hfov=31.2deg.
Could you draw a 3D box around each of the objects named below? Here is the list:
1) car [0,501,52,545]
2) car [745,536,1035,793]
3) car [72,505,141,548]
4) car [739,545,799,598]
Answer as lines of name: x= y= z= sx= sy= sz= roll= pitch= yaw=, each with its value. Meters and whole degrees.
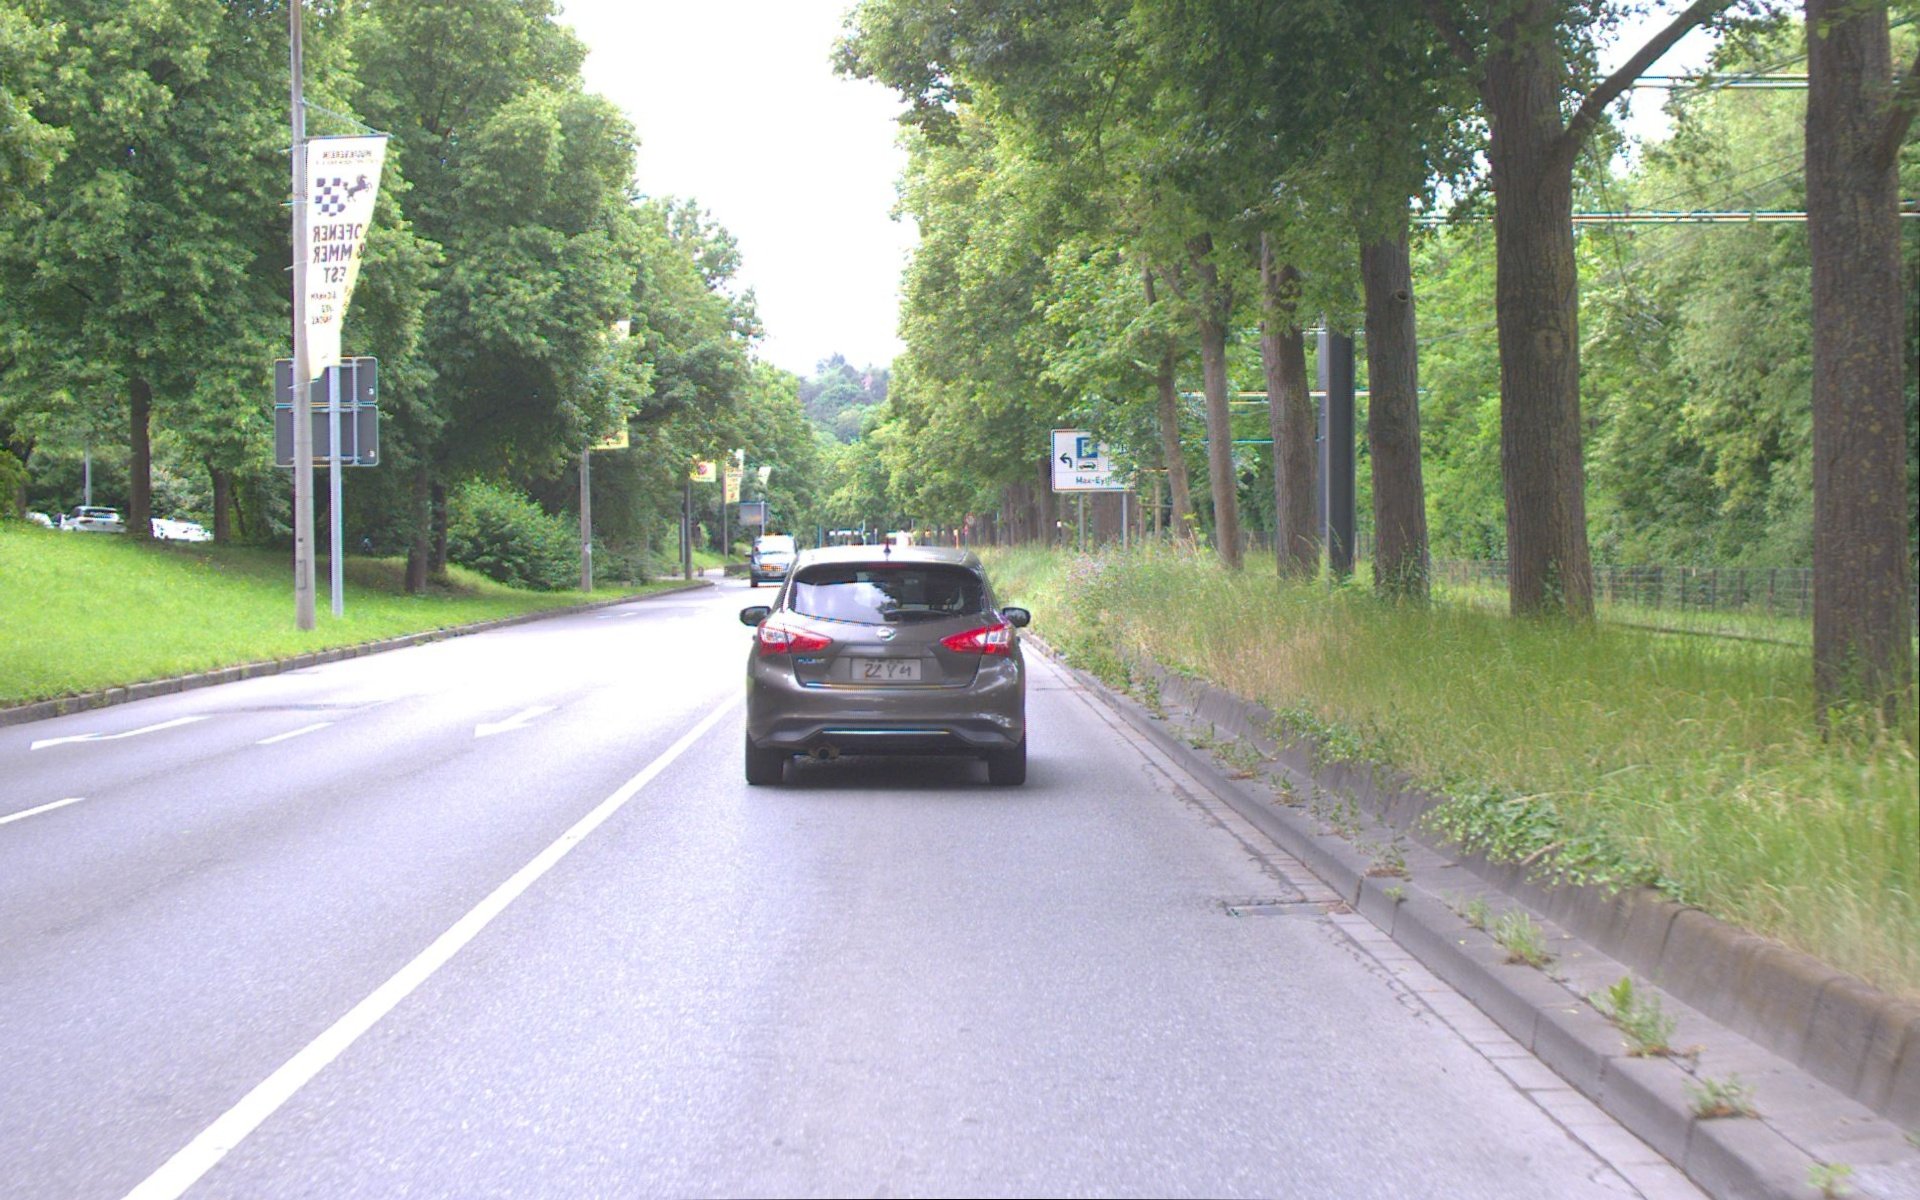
car: x=-33.295 y=-2.719 z=121.543 sx=1.645 sy=1.481 sz=4.001 roll=1 pitch=1 yaw=-24
car: x=-0.466 y=0.370 z=22.561 sx=1.730 sy=1.532 sz=3.552 roll=1 pitch=1 yaw=-1
car: x=-30.366 y=-2.592 z=122.247 sx=1.645 sy=1.481 sz=4.001 roll=1 pitch=1 yaw=-24
car: x=-7.264 y=-1.091 z=131.288 sx=1.993 sy=1.949 sz=5.184 roll=-1 pitch=1 yaw=0
